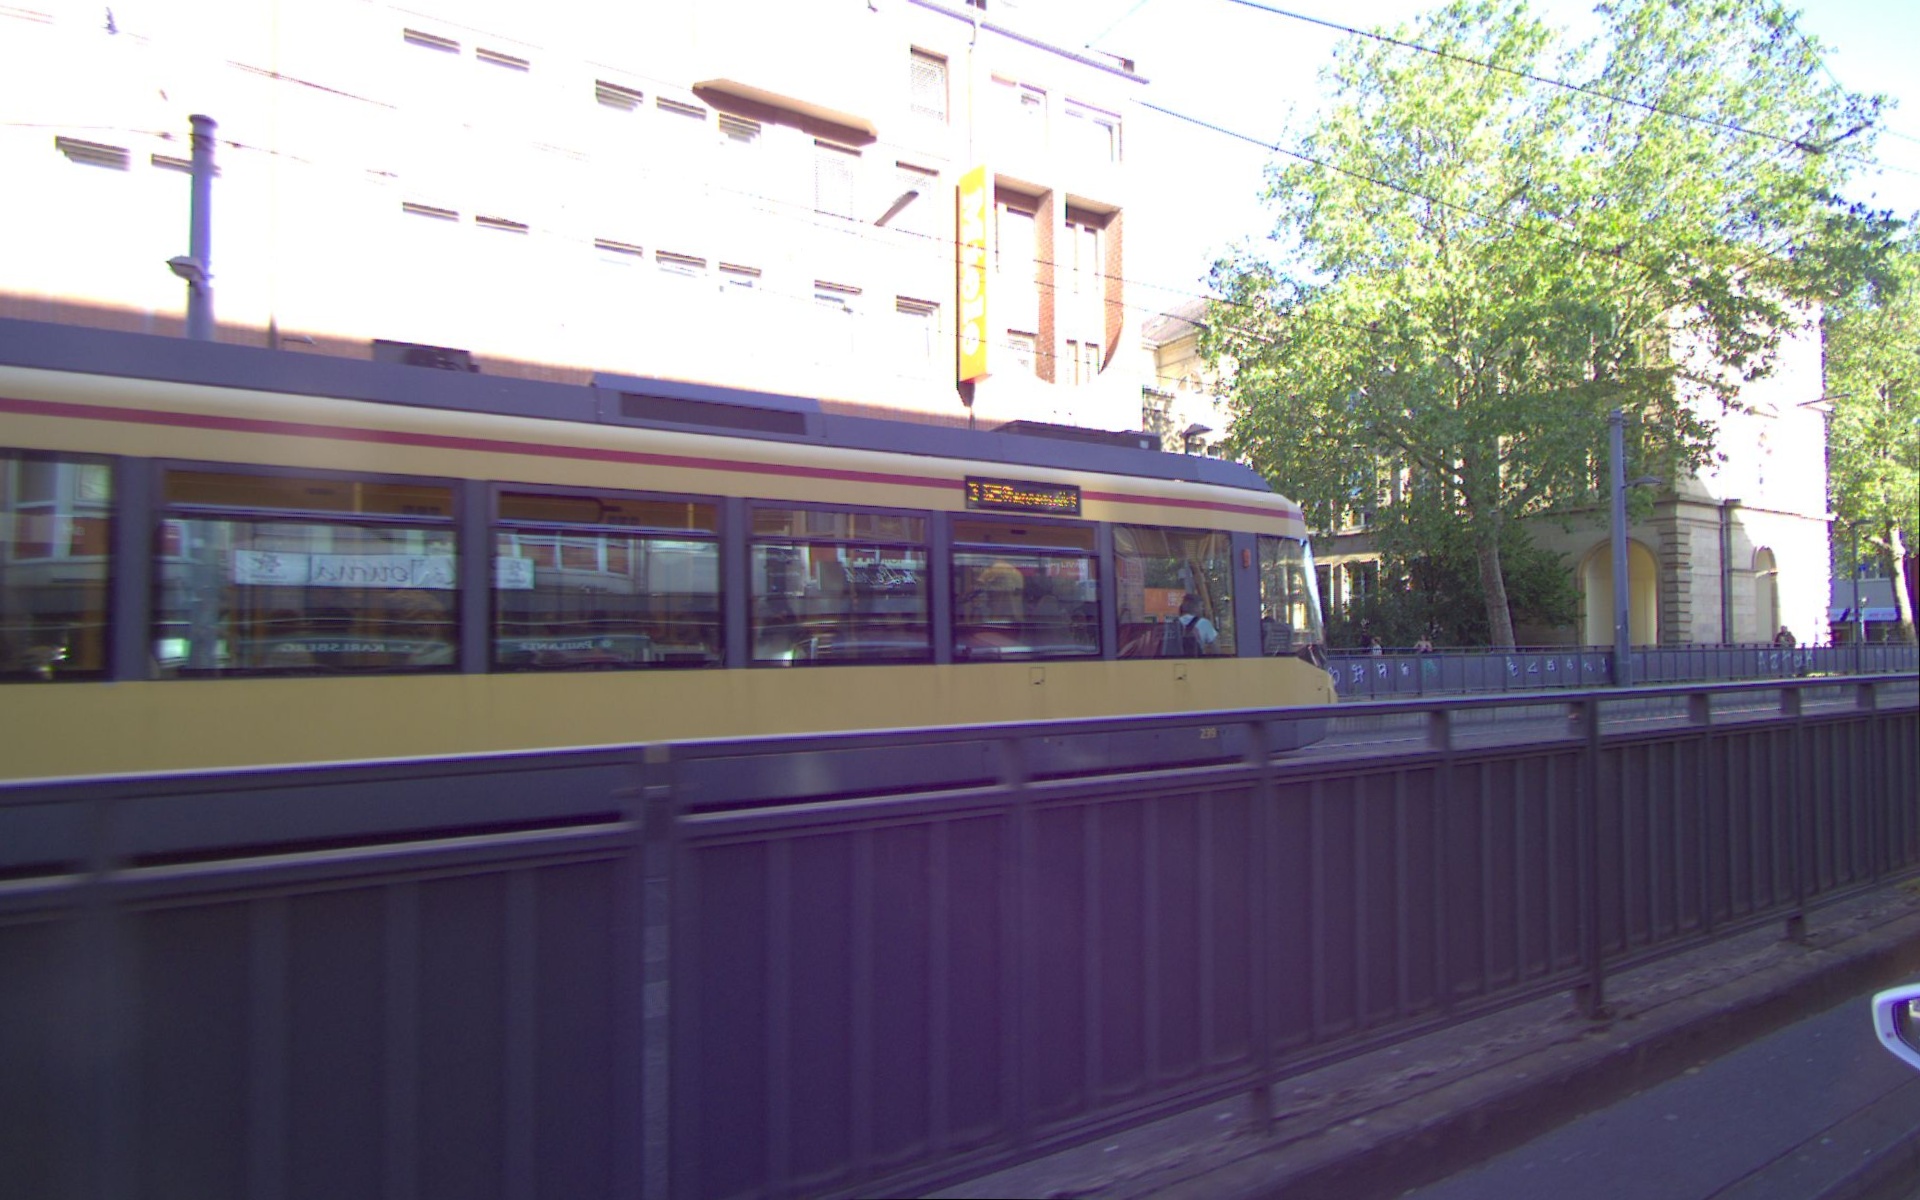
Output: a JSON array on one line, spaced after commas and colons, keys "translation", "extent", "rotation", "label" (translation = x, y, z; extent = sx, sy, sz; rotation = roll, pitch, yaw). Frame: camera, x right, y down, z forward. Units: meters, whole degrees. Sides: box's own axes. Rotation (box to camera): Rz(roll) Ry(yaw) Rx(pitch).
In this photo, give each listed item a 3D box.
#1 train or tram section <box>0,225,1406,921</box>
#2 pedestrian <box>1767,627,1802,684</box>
[{"translation": [-2.821, -0.120, 8.359], "extent": [16.288, 3.693, 2.960], "rotation": [0, 0, -30], "label": "train or tram section"}, {"translation": [29.587, 1.981, 36.051], "extent": [0.675, 2.040, 0.704], "rotation": [0, -1, 11], "label": "pedestrian"}]
